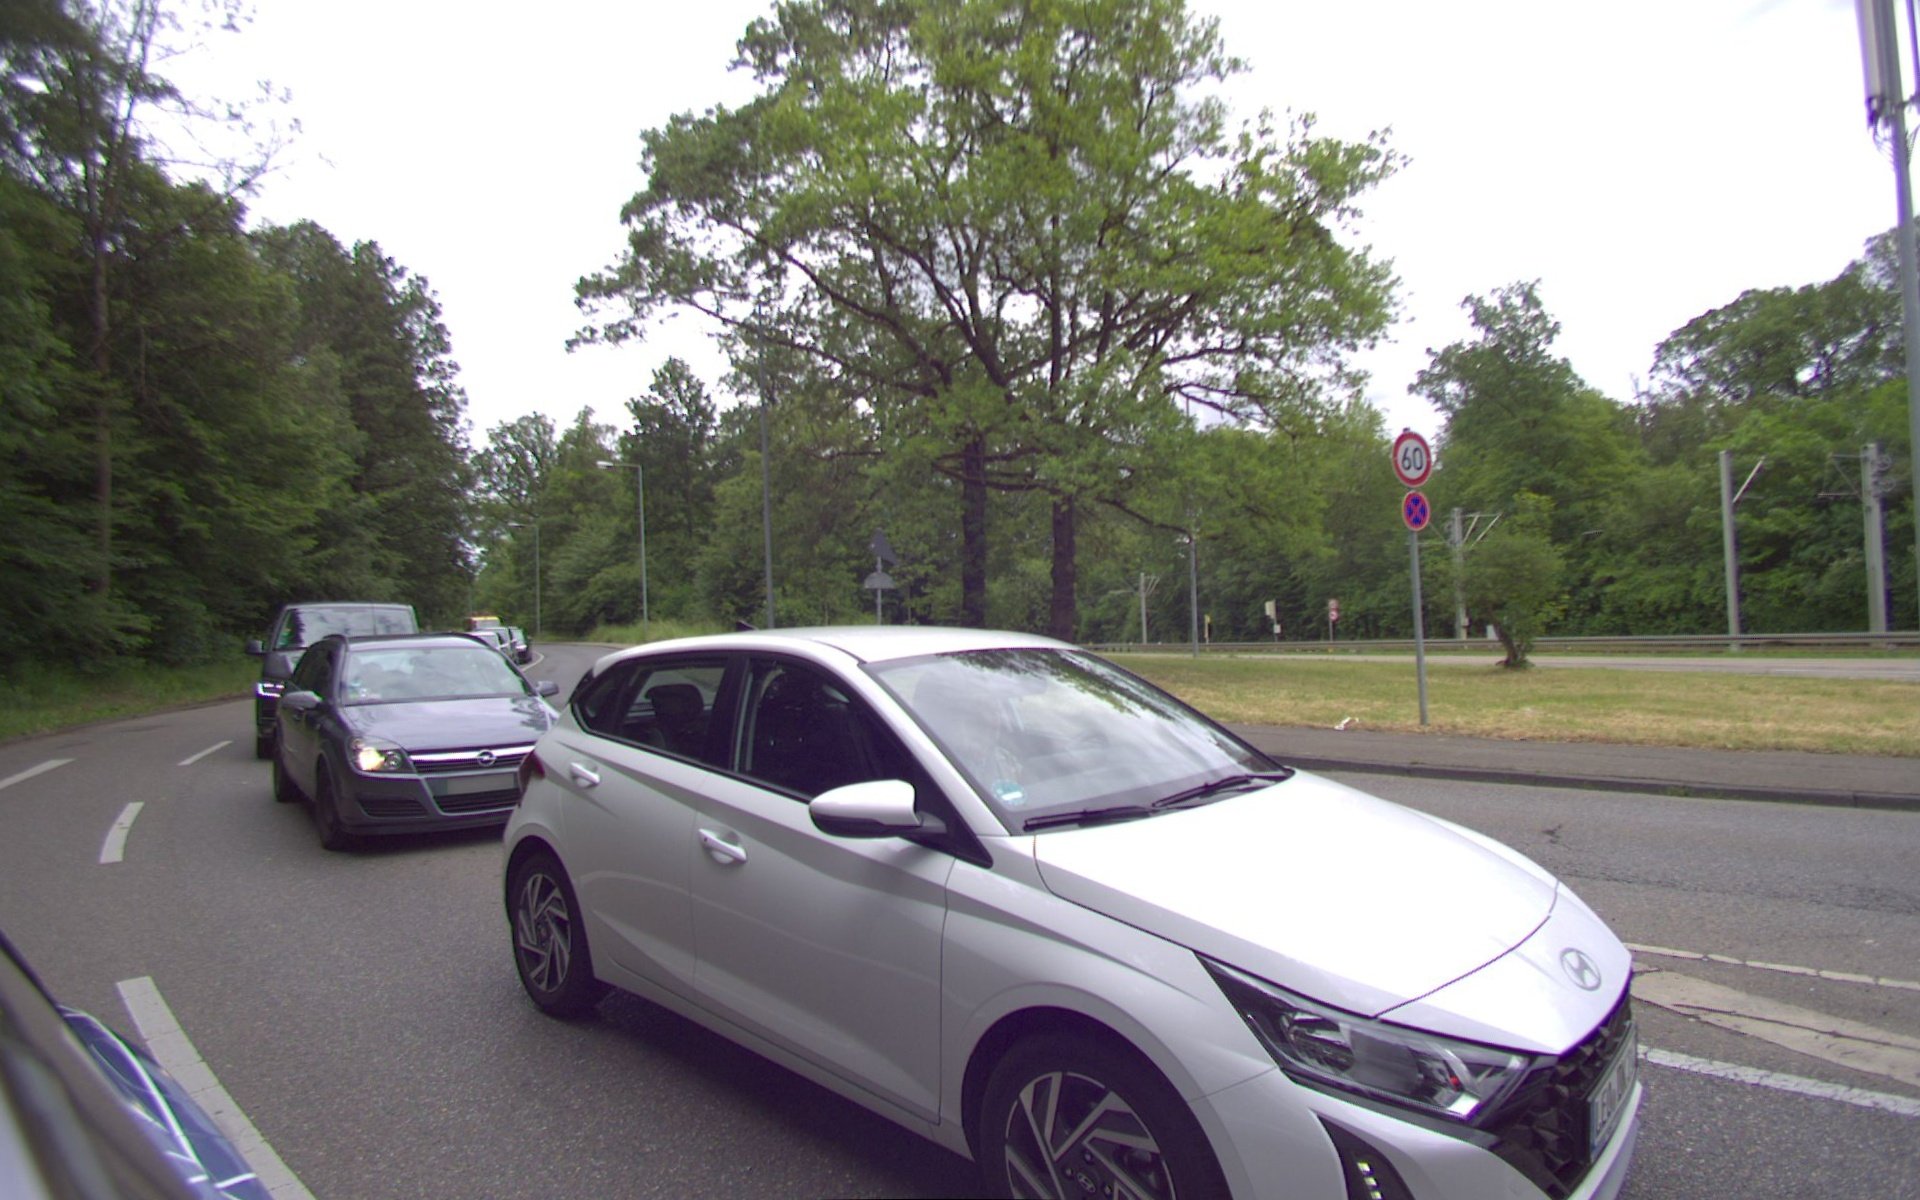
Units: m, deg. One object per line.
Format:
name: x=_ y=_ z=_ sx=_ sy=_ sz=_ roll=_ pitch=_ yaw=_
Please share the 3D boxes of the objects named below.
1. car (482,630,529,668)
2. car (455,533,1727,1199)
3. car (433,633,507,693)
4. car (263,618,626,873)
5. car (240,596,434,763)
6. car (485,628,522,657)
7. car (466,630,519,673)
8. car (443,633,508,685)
car: x=-19.384 y=2.064 z=43.140 sx=1.748 sy=1.511 sz=3.885 roll=0 pitch=-2 yaw=-25
car: x=-0.070 y=0.726 z=3.428 sx=4.073 sy=1.490 sz=1.631 roll=-3 pitch=-2 yaw=43
car: x=-13.695 y=1.708 z=28.386 sx=1.748 sy=1.511 sz=3.885 roll=0 pitch=-2 yaw=-25
car: x=-4.444 y=0.948 z=8.301 sx=1.775 sy=1.490 sz=4.478 roll=0 pitch=-2 yaw=-39
car: x=-8.422 y=0.983 z=13.952 sx=1.957 sy=1.887 sz=4.545 roll=0 pitch=-2 yaw=-29
car: x=-25.717 y=2.391 z=57.084 sx=1.749 sy=1.511 sz=3.885 roll=-1 pitch=-2 yaw=-22
car: x=-17.756 y=1.921 z=38.444 sx=1.748 sy=1.511 sz=3.885 roll=0 pitch=-2 yaw=-25
car: x=-15.391 y=1.828 z=32.235 sx=1.748 sy=1.511 sz=3.885 roll=0 pitch=-2 yaw=-25
